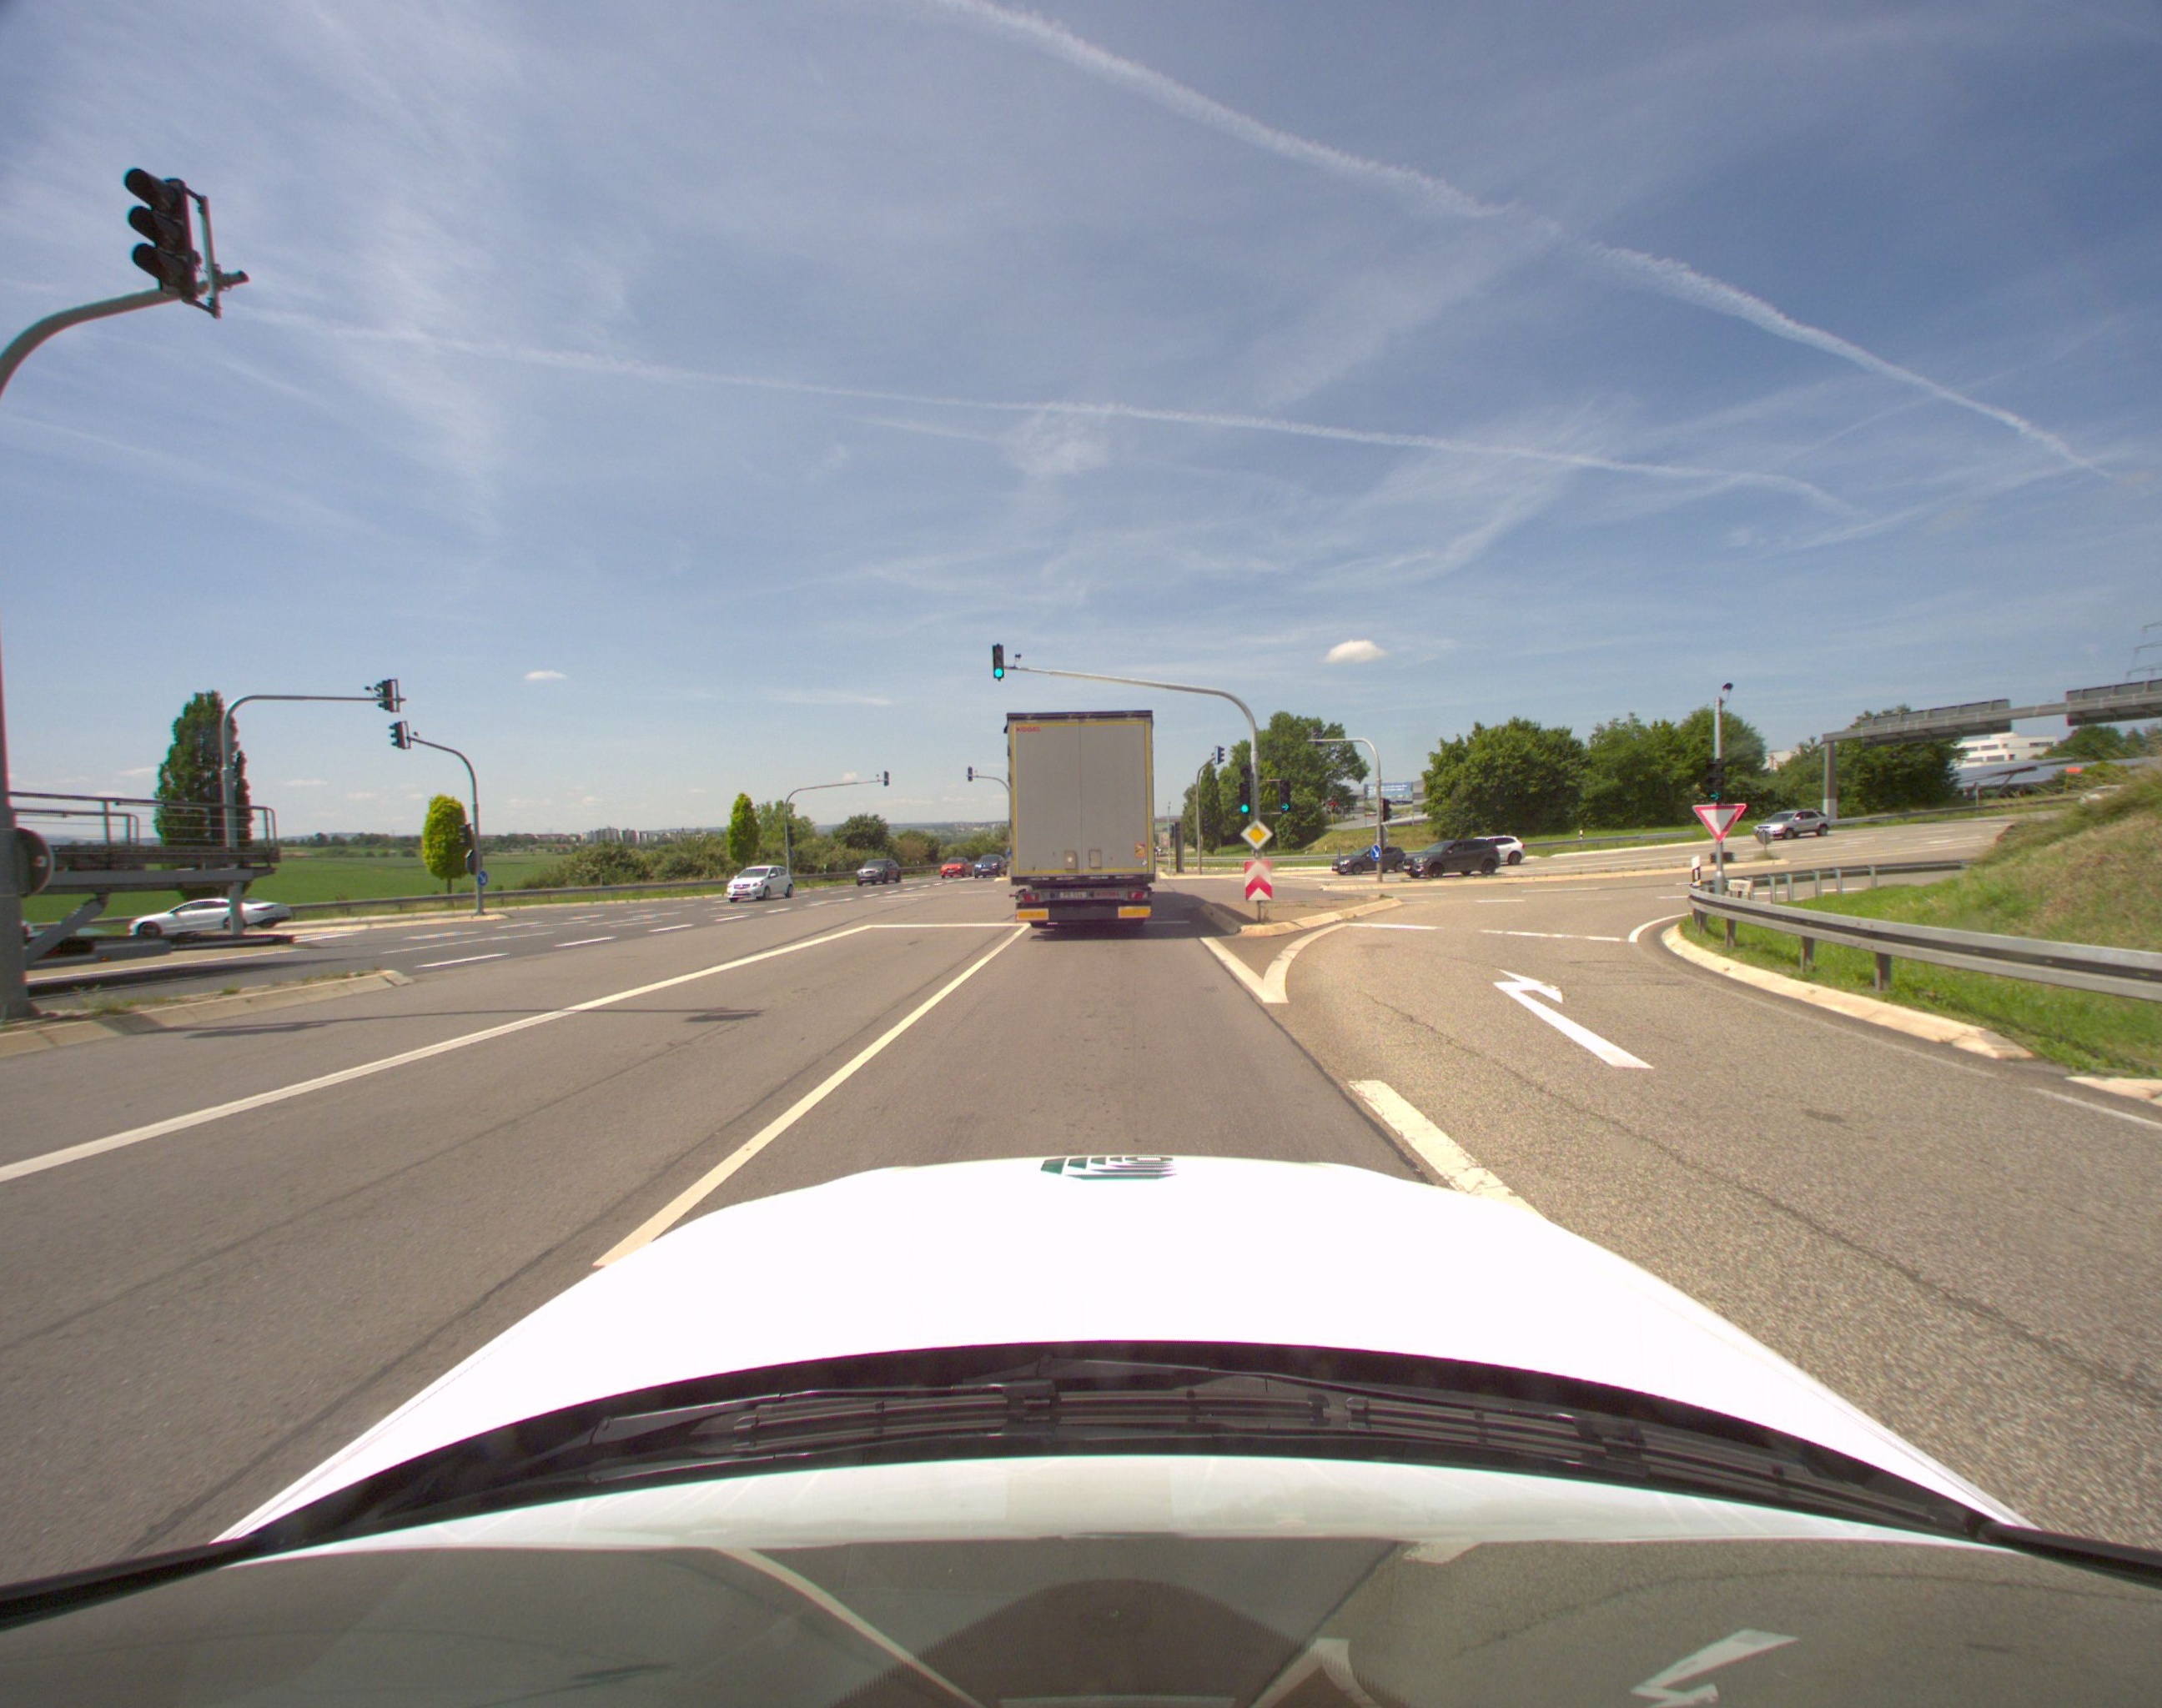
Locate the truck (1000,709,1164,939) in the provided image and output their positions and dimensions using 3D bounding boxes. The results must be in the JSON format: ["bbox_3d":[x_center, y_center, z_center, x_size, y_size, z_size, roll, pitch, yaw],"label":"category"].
[{"bbox_3d":[-0.028,-0.511,19.694,2.791,3.929,11.337,-1,0,-1],"label":"truck"}]

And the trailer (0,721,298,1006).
[{"bbox_3d":[-15.829,0.108,4.764,2.628,3.763,19.810,-2,-1,2],"label":"trailer"}]

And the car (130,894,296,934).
[{"bbox_3d":[-35.364,2.416,33.294,4.482,1.460,1.626,0,-1,-12],"label":"car"}]

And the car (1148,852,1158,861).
[{"bbox_3d":[13.947,0.495,157.728,1.777,1.688,4.007,0,-1,6],"label":"car"}]

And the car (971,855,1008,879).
[{"bbox_3d":[-6.106,0.814,54.690,1.748,1.469,4.200,-2,0,3],"label":"car"}]

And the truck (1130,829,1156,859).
[{"bbox_3d":[8.171,-1.200,106.124,2.640,3.764,10.185,0,-1,8],"label":"truck"}]

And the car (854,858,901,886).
[{"bbox_3d":[-12.924,1.108,52.054,1.637,1.623,4.331,-3,-1,3],"label":"car"}]

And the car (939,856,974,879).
[{"bbox_3d":[-9.175,0.975,60.431,1.637,1.496,4.070,-3,0,4],"label":"car"}]

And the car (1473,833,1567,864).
[{"bbox_3d":[24.296,-0.300,45.147,4.354,1.592,1.775,-1,-1,-8],"label":"car"}]

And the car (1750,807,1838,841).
[{"bbox_3d":[43.516,-1.839,49.710,4.365,1.655,1.828,-5,1,-14],"label":"car"}]

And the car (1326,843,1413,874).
[{"bbox_3d":[15.255,0.239,43.187,3.984,1.510,1.712,-1,-1,-8],"label":"car"}]

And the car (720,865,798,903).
[{"bbox_3d":[-13.962,1.257,35.544,1.637,1.496,3.805,-3,-1,4],"label":"car"}]

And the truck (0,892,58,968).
[{"bbox_3d":[-28.131,1.959,19.079,5.258,1.757,1.996,-3,0,-6],"label":"truck"}]

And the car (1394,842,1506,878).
[{"bbox_3d":[16.648,0.265,36.866,4.354,1.510,1.712,-1,-1,-7],"label":"car"}]
